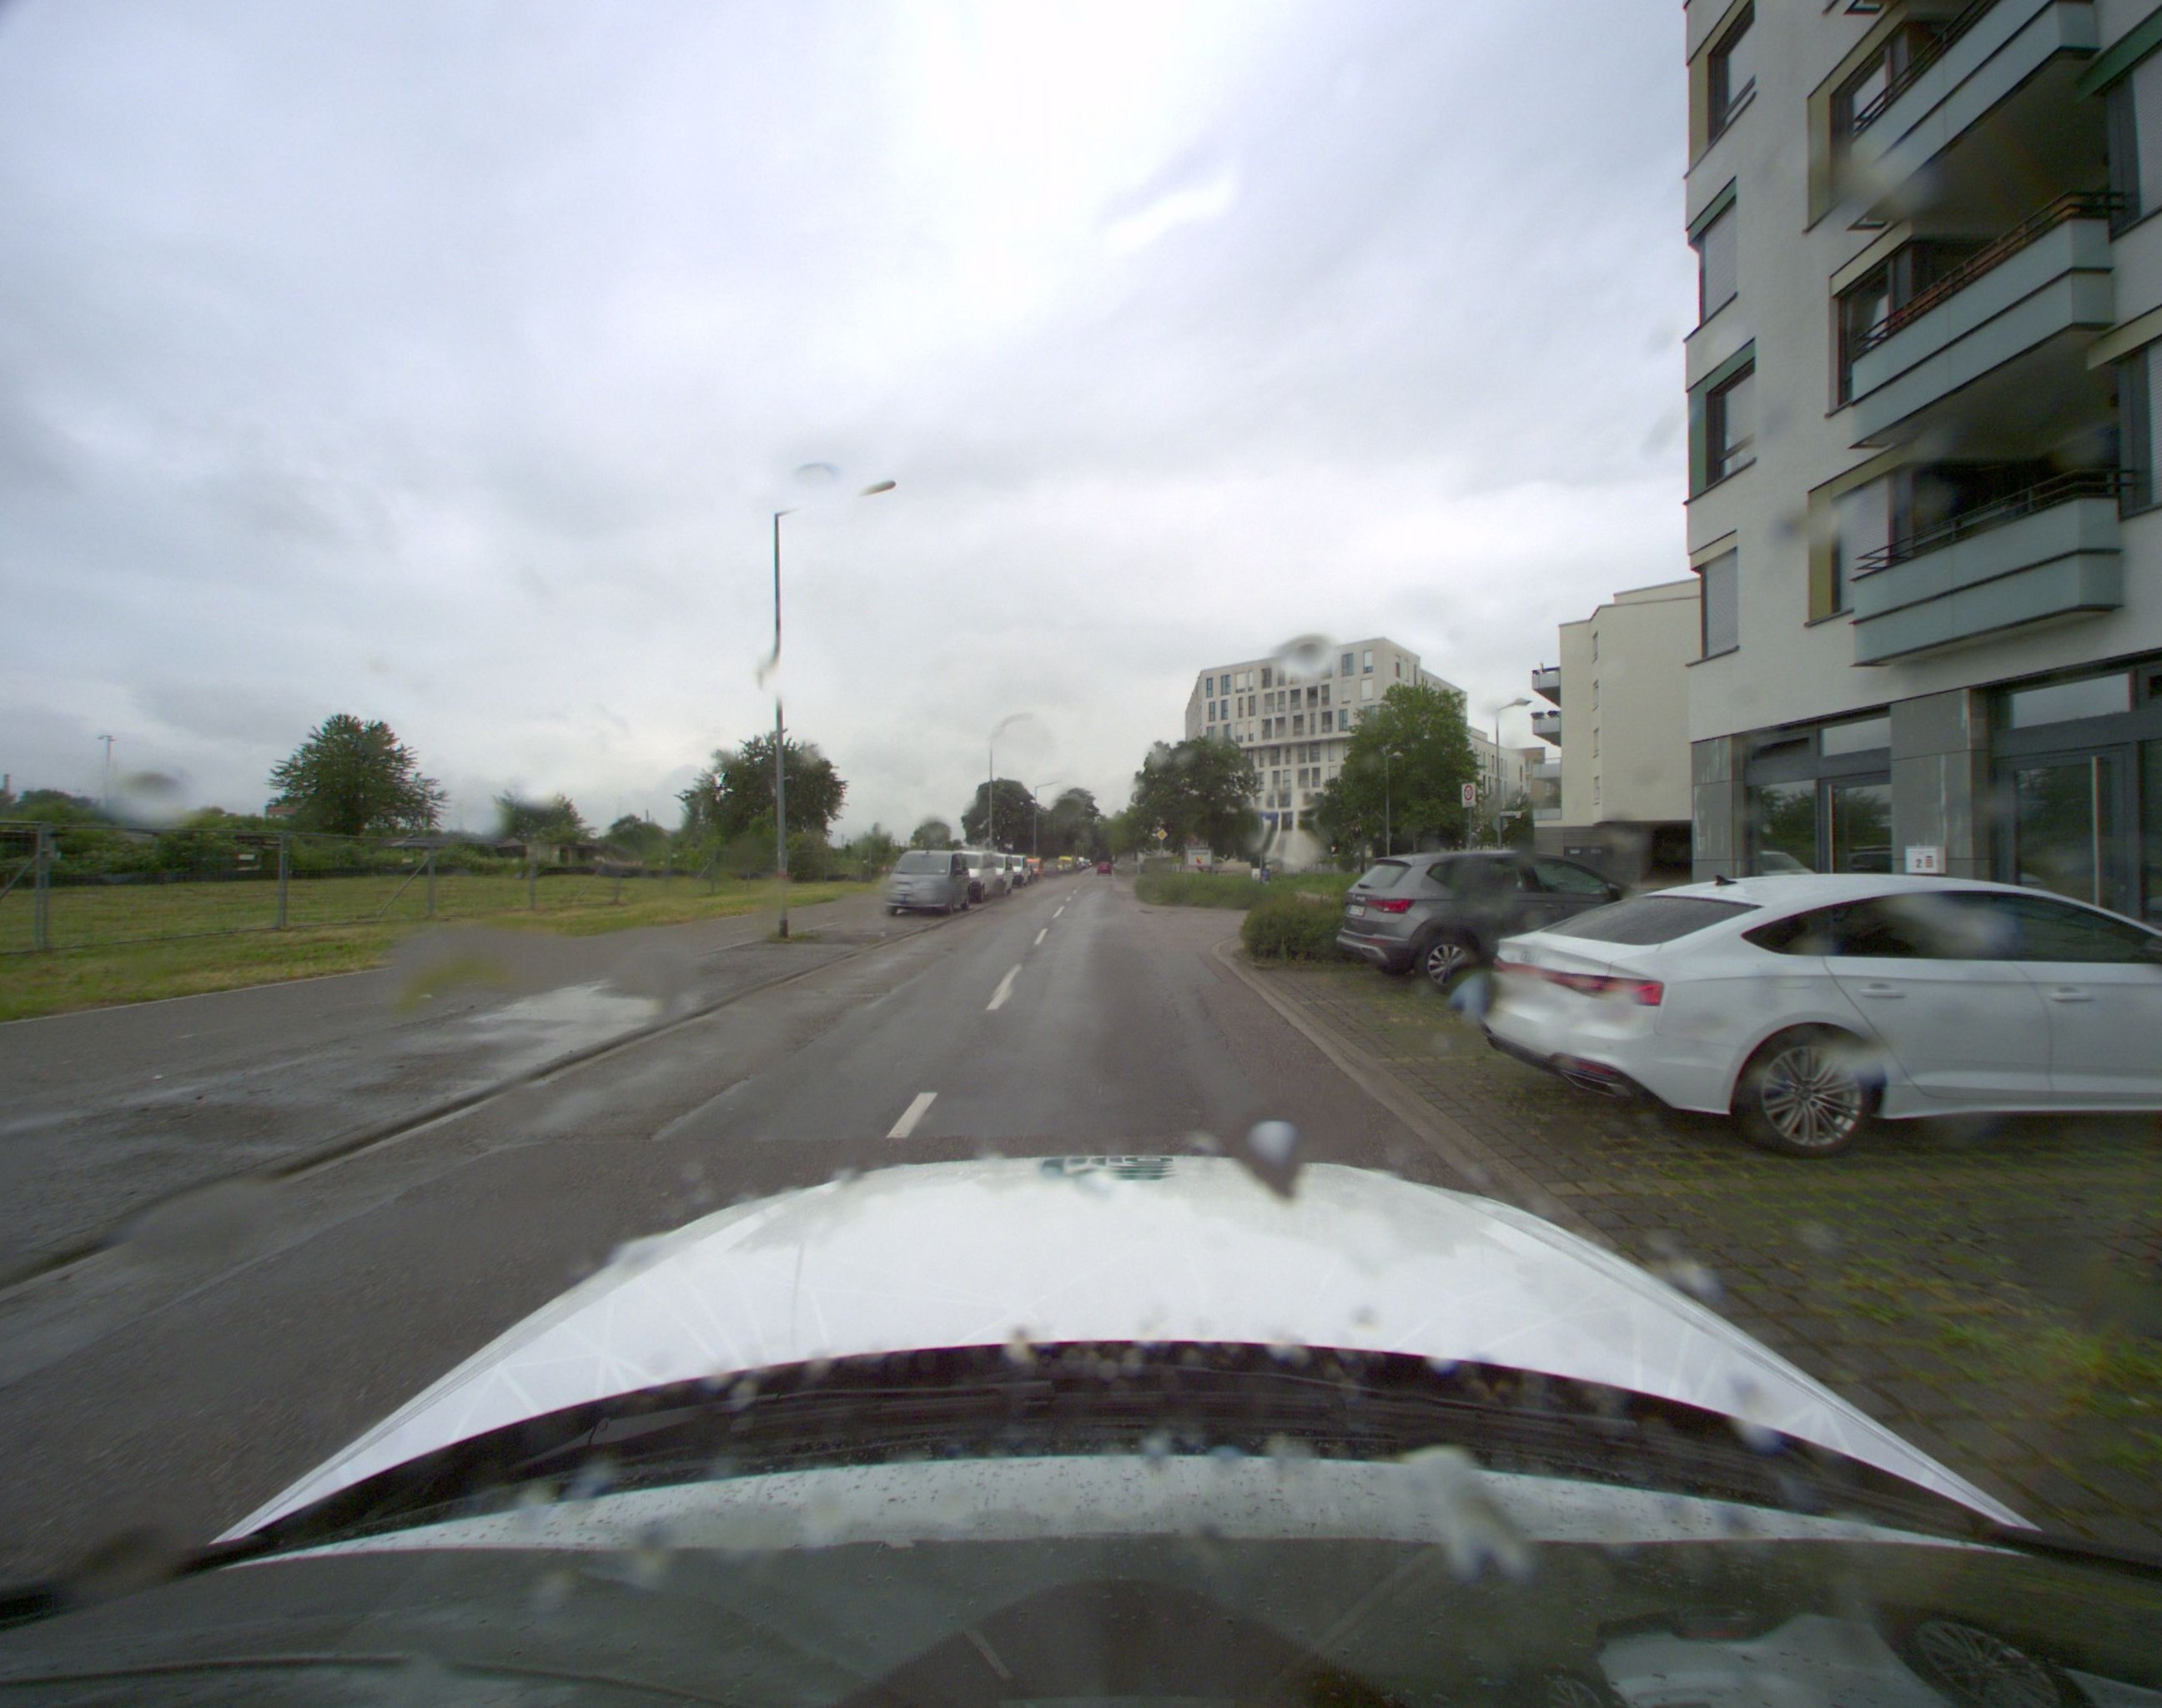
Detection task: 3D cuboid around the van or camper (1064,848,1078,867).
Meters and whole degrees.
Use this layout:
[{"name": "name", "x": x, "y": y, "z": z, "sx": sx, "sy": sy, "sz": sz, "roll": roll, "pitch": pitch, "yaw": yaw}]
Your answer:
[{"name": "van or camper", "x": -1.725, "y": 0.618, "z": 139.784, "sx": 2.087, "sy": 3.094, "sz": 6.423, "roll": 3, "pitch": -1, "yaw": 0}]

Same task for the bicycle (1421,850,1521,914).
[{"name": "bicycle", "x": 9.633, "y": 0.686, "z": 20.194, "sx": 2.168, "sy": 1.522, "sz": 0.634, "roll": -1, "pitch": -1, "yaw": 22}]

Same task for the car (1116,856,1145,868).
[{"name": "car", "x": 8.173, "y": 1.318, "z": 133.593, "sx": 4.527, "sy": 1.685, "sz": 1.885, "roll": -5, "pitch": -1, "yaw": -2}]

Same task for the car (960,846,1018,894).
[{"name": "car", "x": -4.309, "y": 0.724, "z": 38.918, "sx": 1.952, "sy": 2.058, "sz": 5.276, "roll": 1, "pitch": 0, "yaw": 2}]

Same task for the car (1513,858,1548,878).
[{"name": "car", "x": 36.125, "y": 1.082, "z": 65.451, "sx": 1.712, "sy": 1.548, "sz": 4.025, "roll": 0, "pitch": 0, "yaw": 40}]

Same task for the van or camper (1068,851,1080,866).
[{"name": "van or camper", "x": -1.320, "y": 0.857, "z": 156.094, "sx": 2.088, "sy": 2.716, "sz": 7.572, "roll": 3, "pitch": -1, "yaw": 0}]

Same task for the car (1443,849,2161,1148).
[{"name": "car", "x": 4.898, "y": 0.736, "z": 5.110, "sx": 4.394, "sy": 1.405, "sz": 1.911, "roll": -2, "pitch": -1, "yaw": 0}]

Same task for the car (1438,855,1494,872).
[{"name": "car", "x": 38.598, "y": 0.913, "z": 81.628, "sx": 4.776, "sy": 1.507, "sz": 1.635, "roll": 2, "pitch": 1, "yaw": 42}]

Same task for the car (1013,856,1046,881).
[{"name": "car", "x": -3.857, "y": 1.065, "z": 61.766, "sx": 1.932, "sy": 1.767, "sz": 4.335, "roll": 0, "pitch": 0, "yaw": 3}]

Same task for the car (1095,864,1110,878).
[{"name": "car", "x": 2.721, "y": 2.238, "z": 104.652, "sx": 1.750, "sy": 1.706, "sz": 3.999, "roll": 2, "pitch": -1, "yaw": 0}]

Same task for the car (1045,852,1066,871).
[{"name": "car", "x": -2.842, "y": 0.810, "z": 91.435, "sx": 2.010, "sy": 1.956, "sz": 6.066, "roll": 2, "pitch": -1, "yaw": 1}]

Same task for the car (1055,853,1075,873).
[{"name": "car", "x": -2.246, "y": 1.257, "z": 115.472, "sx": 2.182, "sy": 2.694, "sz": 6.086, "roll": 3, "pitch": 0, "yaw": 3}]

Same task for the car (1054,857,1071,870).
[{"name": "car", "x": -2.339, "y": 1.228, "z": 103.726, "sx": 1.987, "sy": 1.594, "sz": 5.017, "roll": 3, "pitch": -1, "yaw": 0}]

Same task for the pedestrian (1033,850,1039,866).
[{"name": "pedestrian", "x": -5.971, "y": 0.545, "z": 108.416, "sx": 0.739, "sy": 2.014, "sz": 0.981, "roll": 1, "pitch": -1, "yaw": 2}]

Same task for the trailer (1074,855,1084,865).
[{"name": "trailer", "x": -0.454, "y": 1.379, "z": 190.069, "sx": 2.052, "sy": 2.218, "sz": 5.793, "roll": 2, "pitch": 0, "yaw": 0}]

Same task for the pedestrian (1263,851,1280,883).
[{"name": "pedestrian", "x": 12.099, "y": 0.821, "z": 51.745, "sx": 0.962, "sy": 2.013, "sz": 0.623, "roll": 0, "pitch": 0, "yaw": 1}]

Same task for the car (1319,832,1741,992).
[{"name": "car", "x": 5.265, "y": 0.647, "z": 10.005, "sx": 4.076, "sy": 1.623, "sz": 1.966, "roll": -2, "pitch": -1, "yaw": 0}]

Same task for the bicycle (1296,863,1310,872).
[{"name": "bicycle", "x": 24.580, "y": 1.506, "z": 90.194, "sx": 0.716, "sy": 1.033, "sz": 2.086, "roll": 0, "pitch": -1, "yaw": 41}]

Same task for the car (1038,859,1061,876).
[{"name": "car", "x": -3.003, "y": 1.274, "z": 78.728, "sx": 1.797, "sy": 1.561, "sz": 4.034, "roll": 3, "pitch": 0, "yaw": 2}]

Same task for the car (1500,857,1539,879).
[{"name": "car", "x": 32.426, "y": 1.011, "z": 60.160, "sx": 1.712, "sy": 1.548, "sz": 4.146, "roll": 0, "pitch": 0, "yaw": 40}]

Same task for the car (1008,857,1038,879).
[{"name": "car", "x": -4.004, "y": 0.959, "z": 56.884, "sx": 1.677, "sy": 1.502, "sz": 4.893, "roll": 0, "pitch": 0, "yaw": 1}]

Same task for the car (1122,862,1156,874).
[{"name": "car", "x": 7.857, "y": 1.927, "z": 110.634, "sx": 4.472, "sy": 1.481, "sz": 1.692, "roll": -2, "pitch": -1, "yaw": 1}]

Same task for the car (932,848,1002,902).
[{"name": "car", "x": -4.509, "y": 0.791, "z": 32.934, "sx": 1.887, "sy": 2.014, "sz": 5.260, "roll": 0, "pitch": 0, "yaw": 2}]

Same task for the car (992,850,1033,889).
[{"name": "car", "x": -4.187, "y": 0.912, "z": 50.358, "sx": 1.935, "sy": 2.236, "sz": 5.559, "roll": 0, "pitch": 0, "yaw": 1}]

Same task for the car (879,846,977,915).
[{"name": "car", "x": -4.624, "y": 0.752, "z": 25.407, "sx": 1.948, "sy": 1.902, "sz": 4.996, "roll": 1, "pitch": 0, "yaw": 2}]
